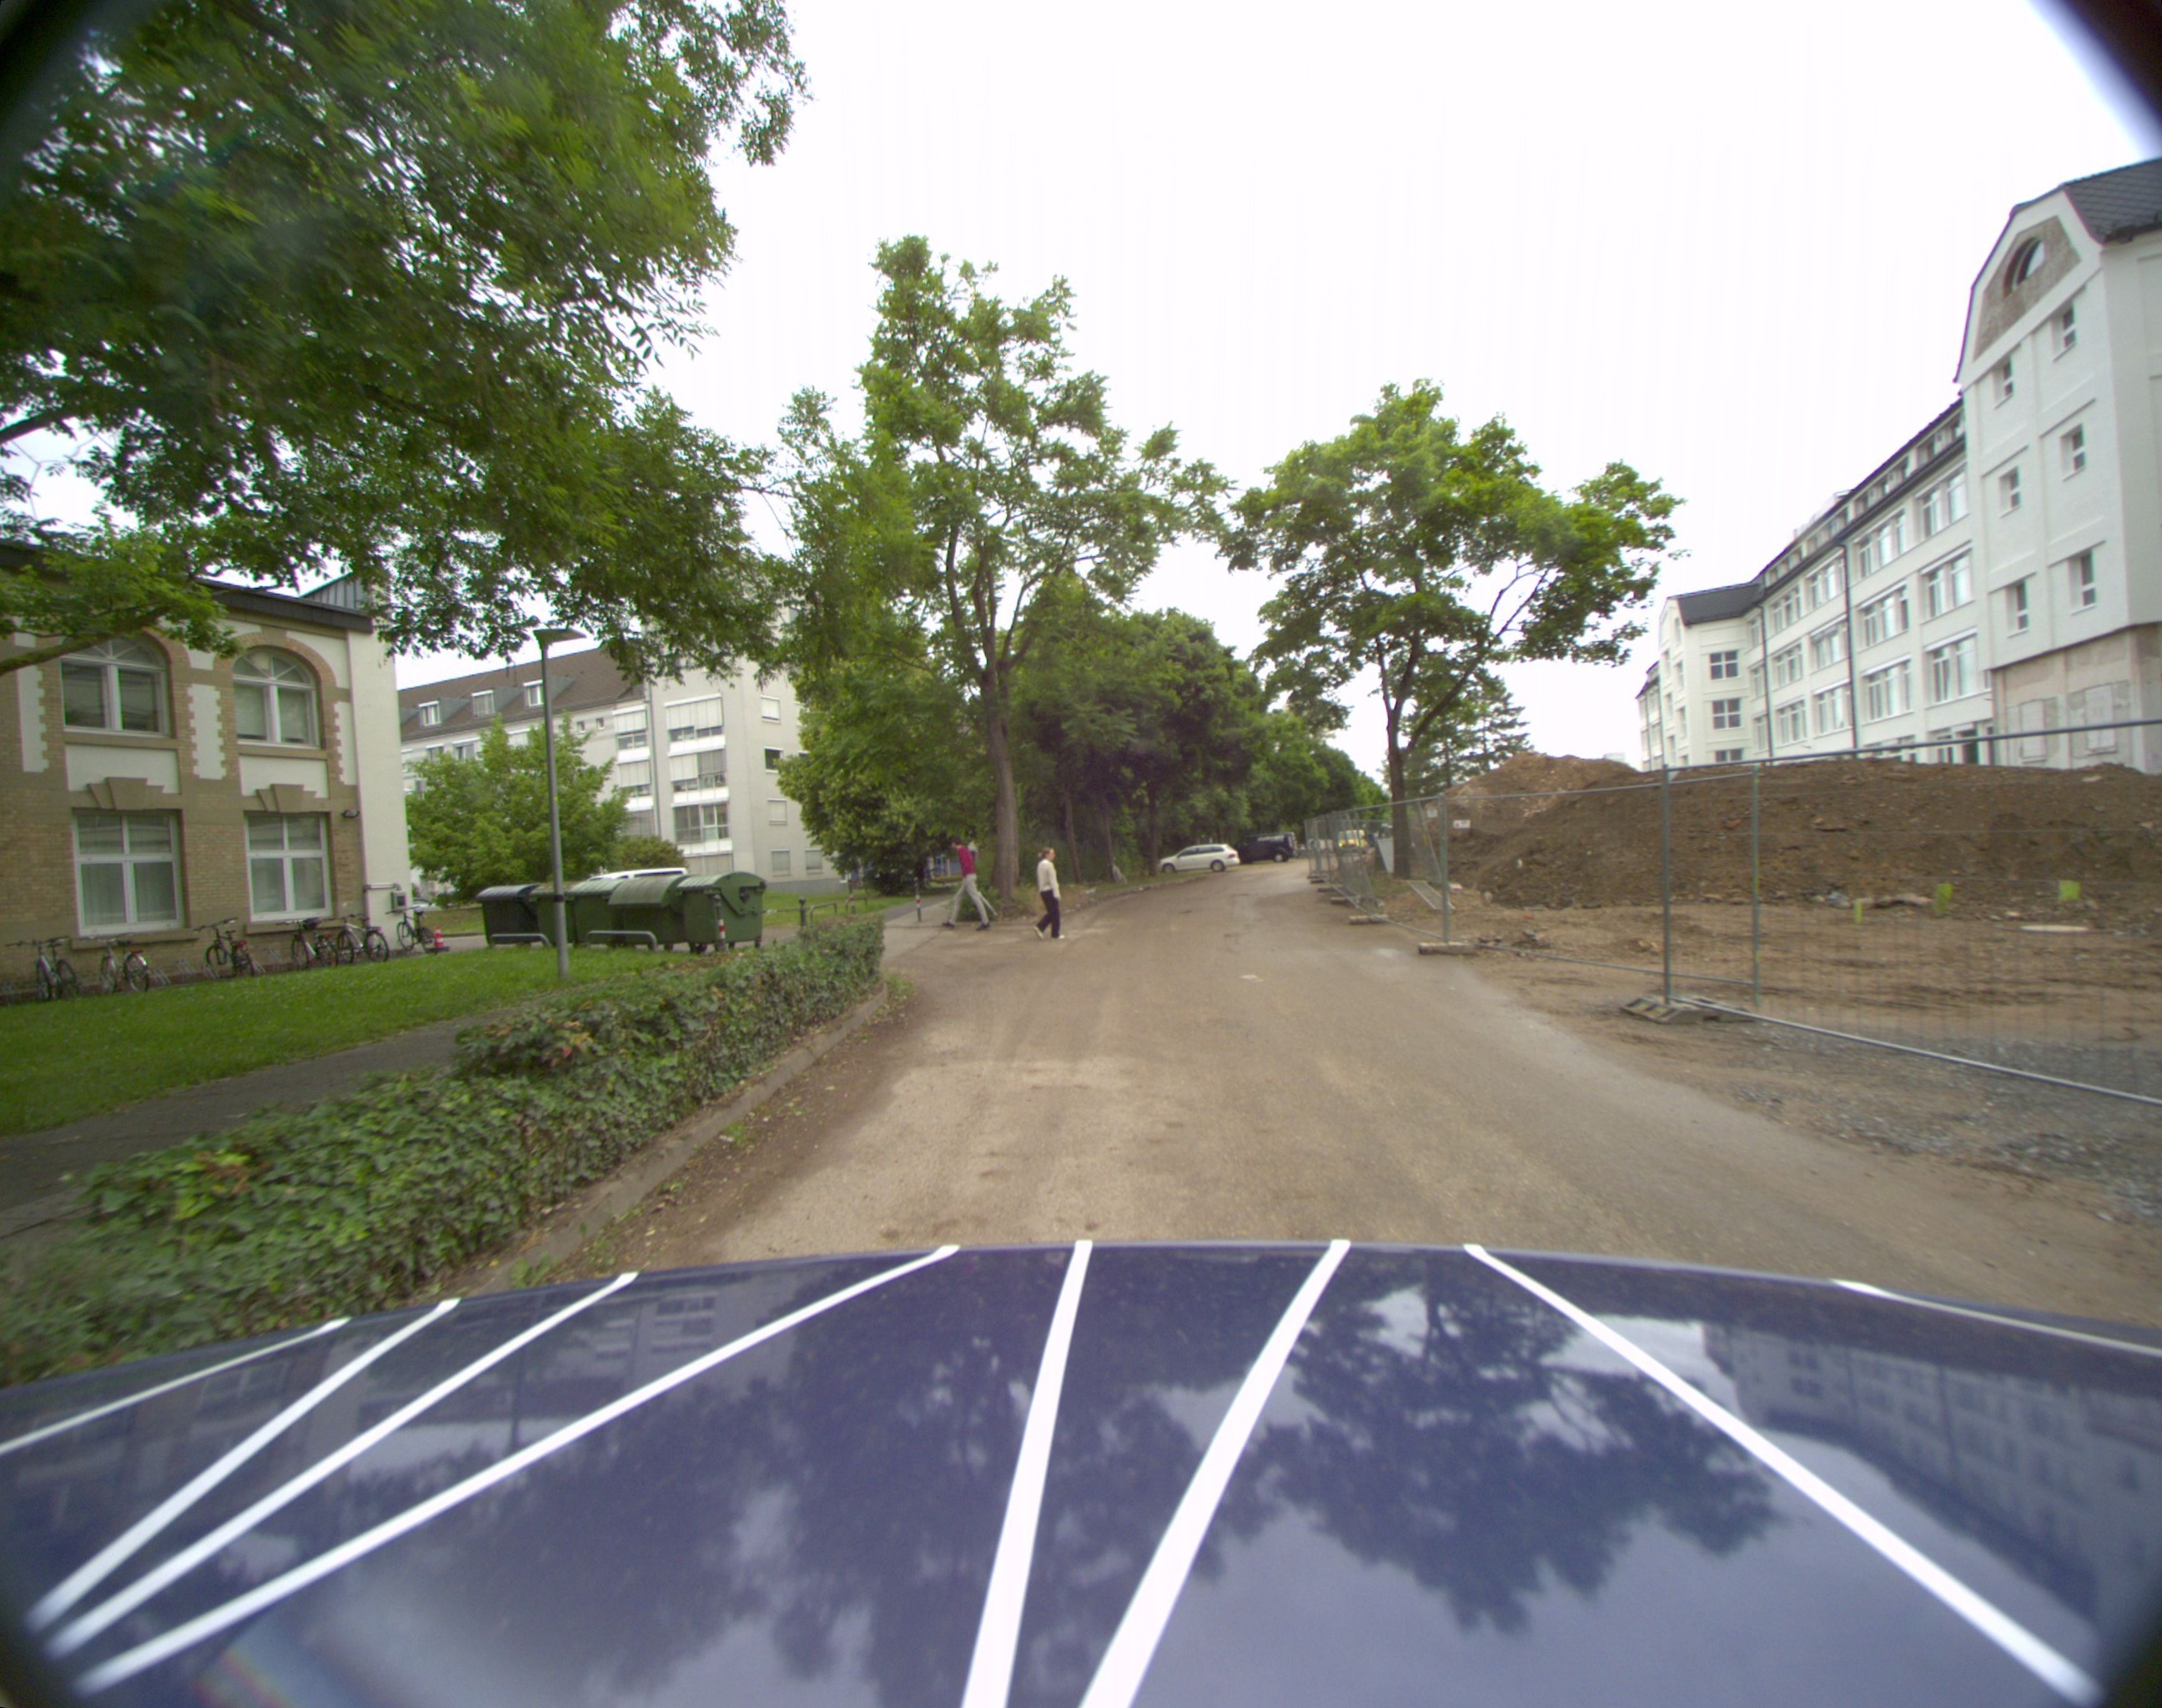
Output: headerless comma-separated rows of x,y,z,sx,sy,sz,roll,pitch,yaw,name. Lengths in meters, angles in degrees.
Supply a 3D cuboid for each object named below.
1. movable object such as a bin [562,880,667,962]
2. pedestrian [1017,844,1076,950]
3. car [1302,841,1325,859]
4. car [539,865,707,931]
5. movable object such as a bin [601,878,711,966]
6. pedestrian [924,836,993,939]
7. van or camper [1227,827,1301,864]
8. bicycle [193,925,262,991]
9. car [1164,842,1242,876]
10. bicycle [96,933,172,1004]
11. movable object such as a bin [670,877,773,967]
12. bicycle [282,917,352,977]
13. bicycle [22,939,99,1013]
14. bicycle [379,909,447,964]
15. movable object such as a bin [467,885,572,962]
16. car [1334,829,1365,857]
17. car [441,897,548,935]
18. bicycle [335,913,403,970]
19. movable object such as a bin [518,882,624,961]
-9.005,1.282,14.686,1.291,1.442,1.110,-3,1,25,movable object such as a bin
-0.608,0.737,13.357,0.752,1.771,0.662,-4,1,-24,pedestrian
23.484,-0.445,76.631,1.996,1.587,4.005,-3,1,19,car
-16.395,1.517,27.514,1.897,1.862,4.781,-6,-1,28,car
-7.741,1.224,13.871,1.283,1.442,1.110,-3,1,25,movable object such as a bin
-2.536,0.665,15.876,0.793,2.052,1.202,-3,1,23,pedestrian
12.520,-0.556,52.050,4.490,2.245,2.003,-3,1,27,van or camper
-15.801,1.900,14.053,1.740,1.108,0.461,-3,1,30,bicycle
6.586,0.244,40.823,3.879,1.565,1.754,-3,1,15,car
-16.362,1.949,13.121,1.740,1.108,0.461,-3,1,28,bicycle
-6.314,1.166,13.370,1.272,1.426,1.074,-3,1,36,movable object such as a bin
-15.313,1.856,15.216,1.740,1.108,0.461,-3,1,28,bicycle
-16.717,1.969,12.436,1.740,1.108,0.461,-3,1,28,bicycle
-14.638,1.800,16.644,1.740,1.108,0.461,-3,1,28,bicycle
-11.707,1.435,15.863,1.360,1.442,1.110,-4,1,21,movable object such as a bin
21.160,-0.861,59.879,2.121,2.002,4.005,-3,0,20,car
-33.381,3.497,43.433,1.996,1.724,4.347,-3,0,21,car
-14.947,1.830,15.947,1.740,1.108,0.461,-3,1,28,bicycle
-10.275,1.344,15.336,1.324,1.442,1.110,-4,1,20,movable object such as a bin
